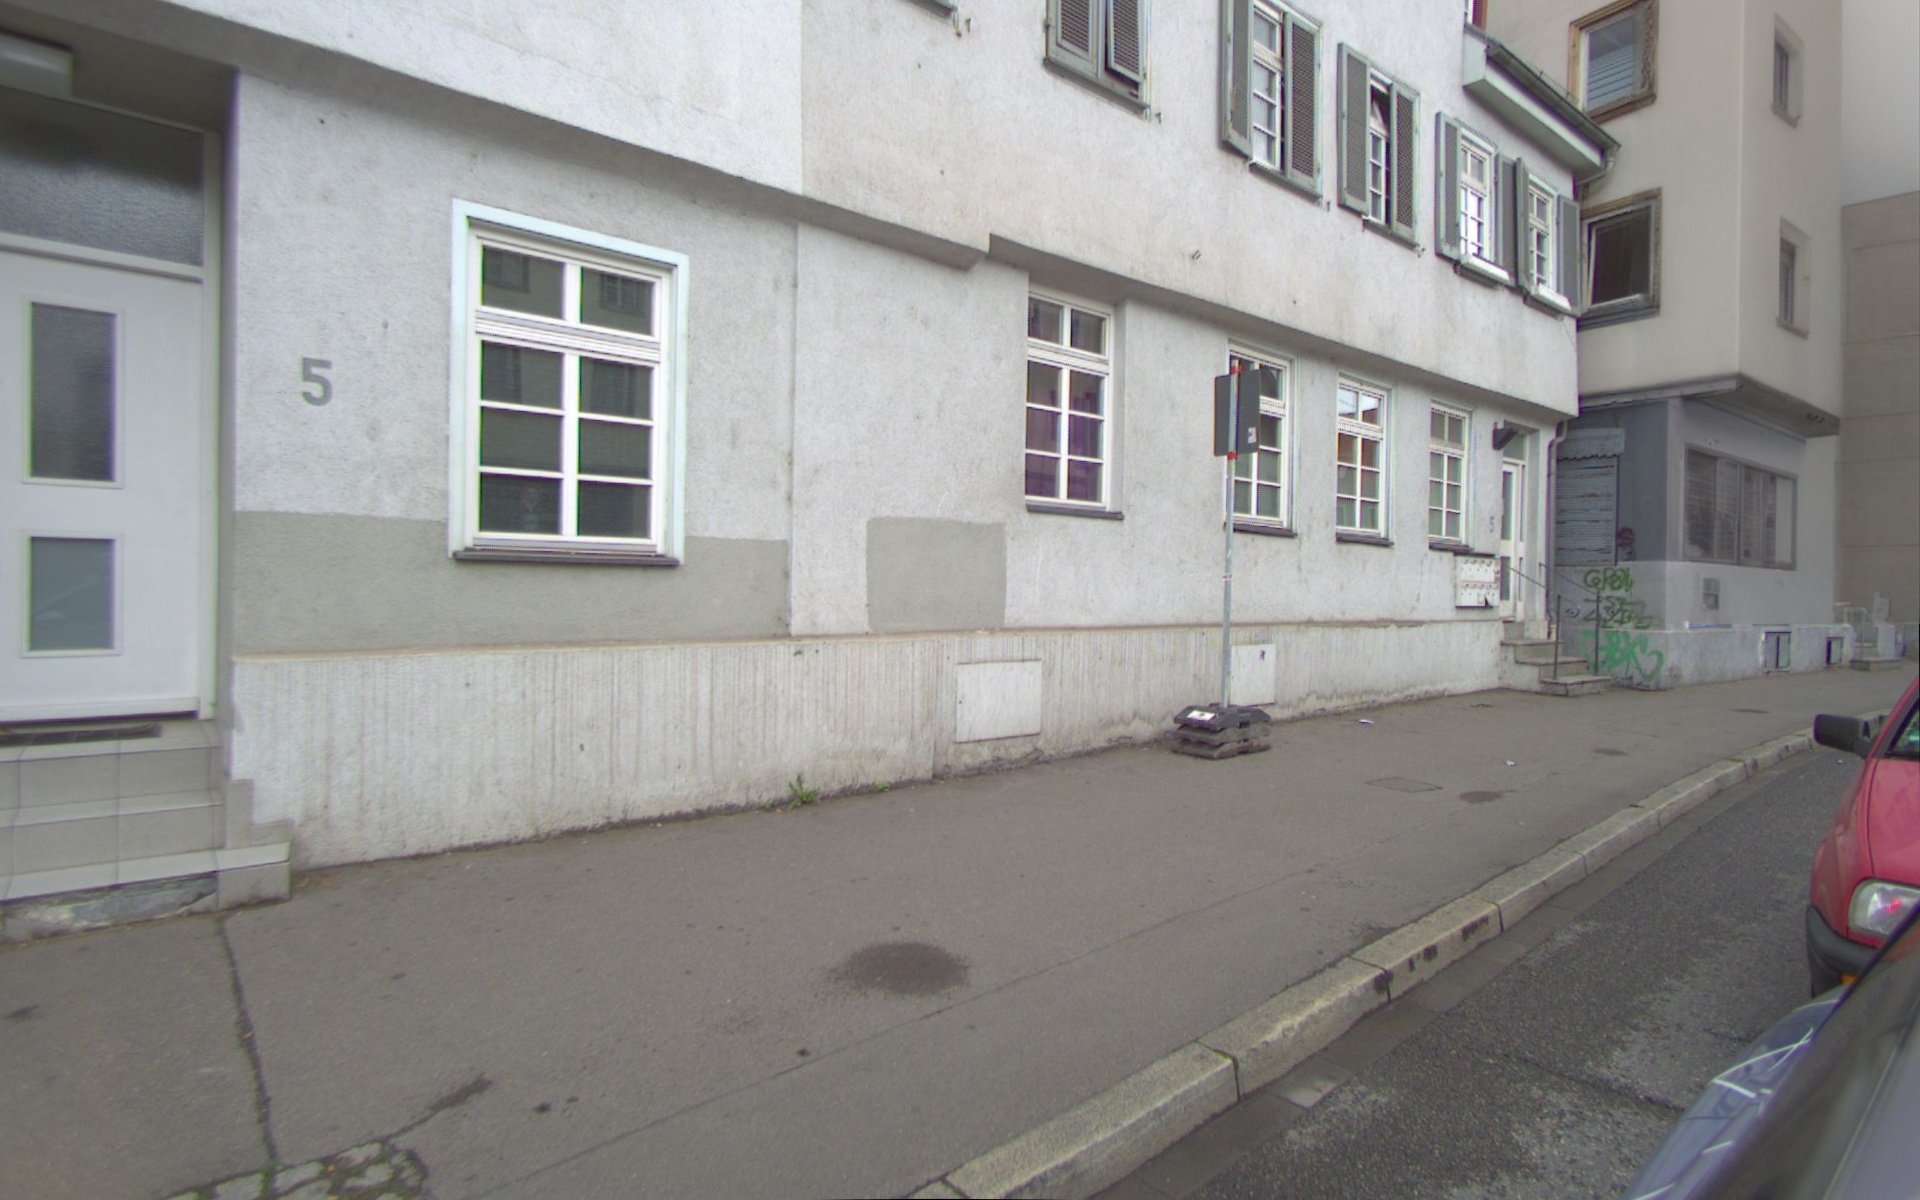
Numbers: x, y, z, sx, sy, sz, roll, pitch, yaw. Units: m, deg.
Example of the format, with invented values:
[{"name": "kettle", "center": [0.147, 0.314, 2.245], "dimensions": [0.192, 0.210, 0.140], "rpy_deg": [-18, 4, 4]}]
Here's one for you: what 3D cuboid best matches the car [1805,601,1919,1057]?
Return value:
[{"name": "car", "center": [5.018, 0.741, 4.105], "dimensions": [3.930, 1.485, 1.802], "rpy_deg": [0, -2, -41]}]
